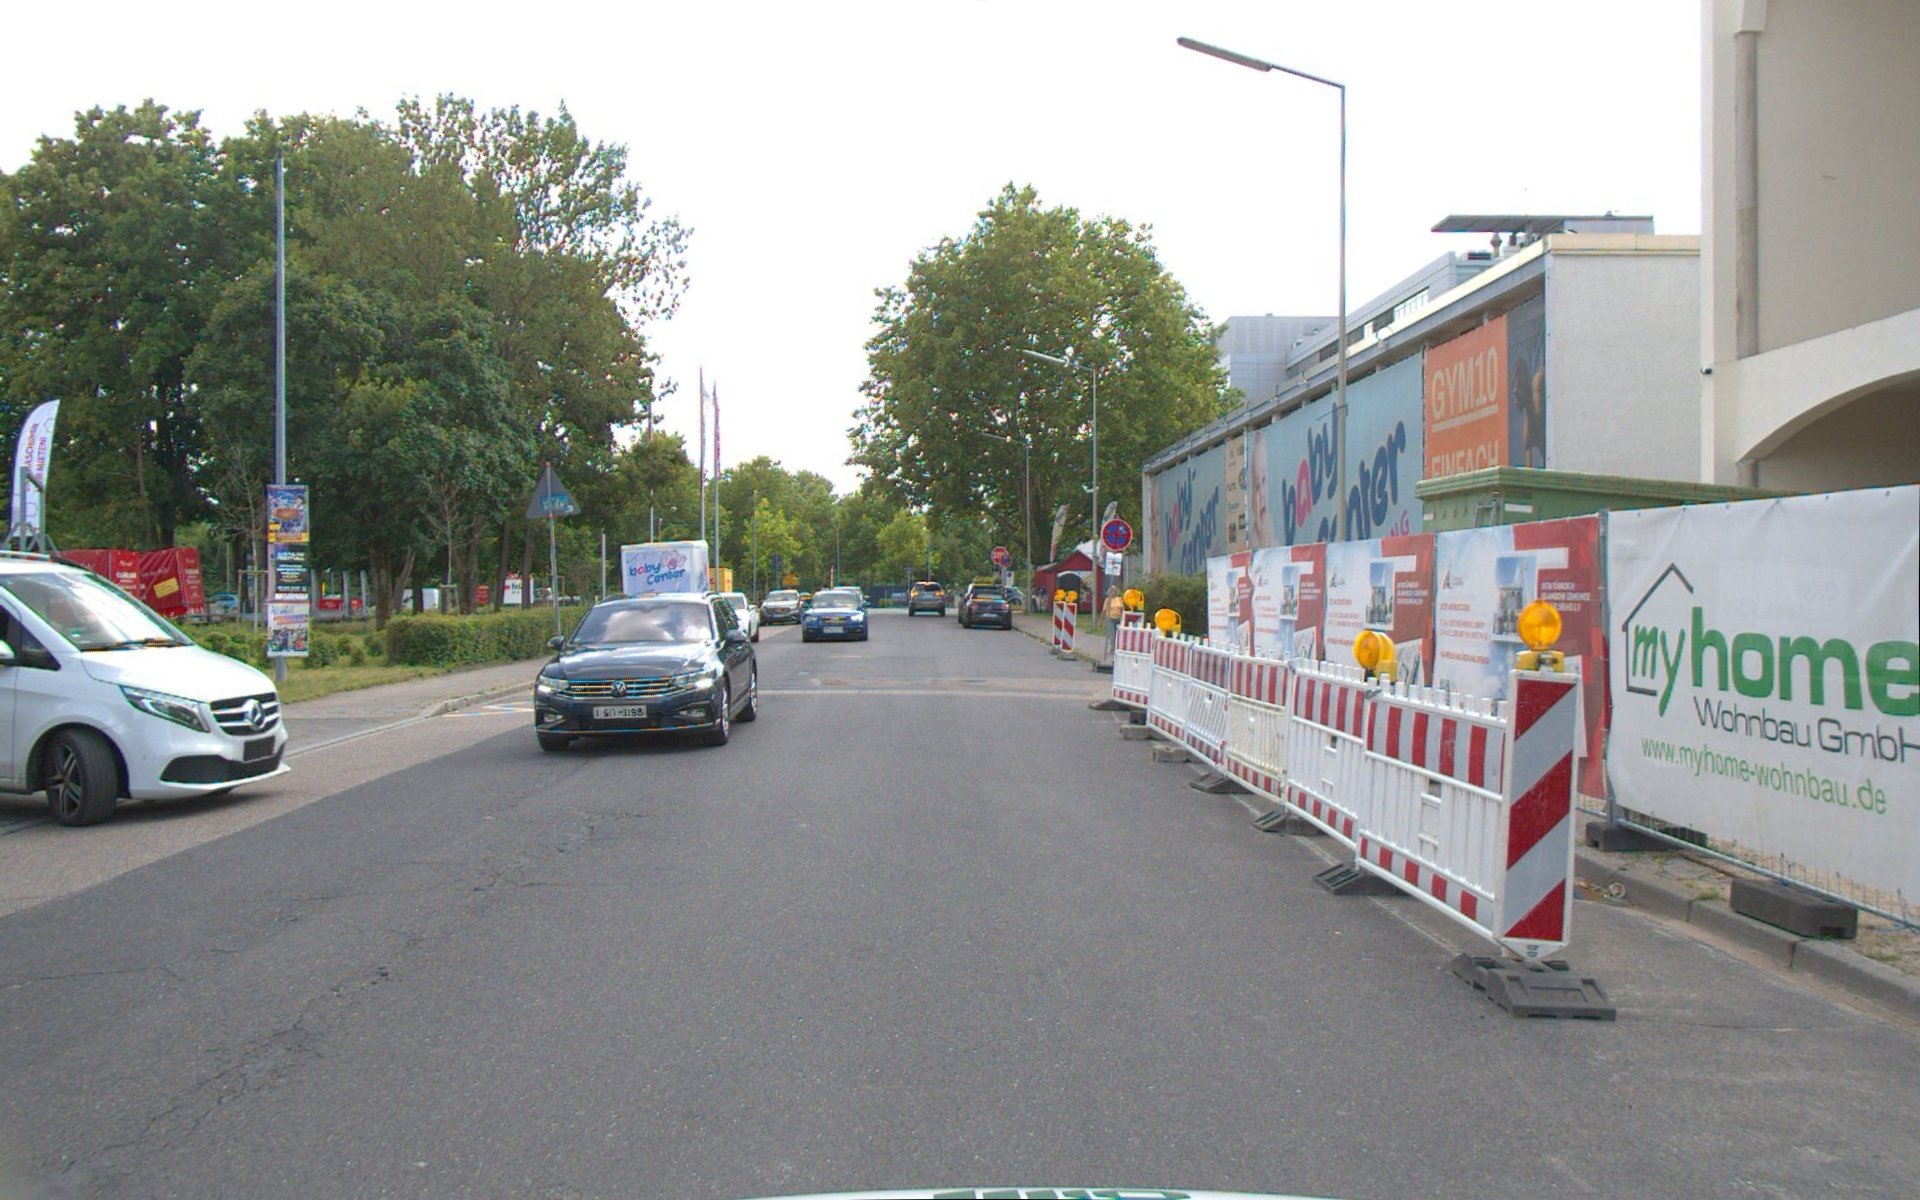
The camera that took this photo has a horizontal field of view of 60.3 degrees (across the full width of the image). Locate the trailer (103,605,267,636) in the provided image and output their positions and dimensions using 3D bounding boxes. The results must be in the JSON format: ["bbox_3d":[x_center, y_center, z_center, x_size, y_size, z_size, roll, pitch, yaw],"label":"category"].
[{"bbox_3d":[-24.254,0.647,51.894,4.150,0.929,2.158,0,-1,-4],"label":"trailer"}]

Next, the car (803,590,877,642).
[{"bbox_3d":[-3.398,0.417,47.444,1.884,1.401,4.379,0,1,-1],"label":"car"}]

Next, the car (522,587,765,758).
[{"bbox_3d":[-3.128,0.637,17.196,1.760,1.484,4.383,-2,1,-2],"label":"car"}]

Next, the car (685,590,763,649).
[{"bbox_3d":[-6.653,0.524,47.065,1.730,1.505,4.233,-3,1,-3],"label":"car"}]

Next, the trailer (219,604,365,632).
[{"bbox_3d":[-24.659,0.660,61.151,4.498,0.928,2.189,0,1,3],"label":"trailer"}]

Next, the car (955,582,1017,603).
[{"bbox_3d":[1.779,-0.500,113.989,4.137,1.430,1.922,0,0,-4],"label":"car"}]

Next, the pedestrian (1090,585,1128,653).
[{"bbox_3d":[3.441,0.434,38.246,0.668,1.560,1.128,0,0,-7],"label":"pedestrian"}]

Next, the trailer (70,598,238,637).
[{"bbox_3d":[-24.066,0.532,49.486,4.150,1.140,1.670,0,-1,-4],"label":"trailer"}]

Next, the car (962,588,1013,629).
[{"bbox_3d":[1.014,0.284,62.413,1.771,1.415,4.588,2,0,0],"label":"car"}]

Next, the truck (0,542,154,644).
[{"bbox_3d":[-24.680,-0.151,43.890,5.636,2.639,1.815,0,-1,0],"label":"truck"}]

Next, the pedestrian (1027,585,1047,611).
[{"bbox_3d":[3.897,-0.099,83.717,0.992,1.337,0.965,0,0,6],"label":"pedestrian"}]

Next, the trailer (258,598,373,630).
[{"bbox_3d":[-24.843,0.533,63.779,3.736,1.211,1.716,0,1,4],"label":"trailer"}]

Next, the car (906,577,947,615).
[{"bbox_3d":[-1.742,-0.217,84.685,1.923,1.847,4.272,0,1,-4],"label":"car"}]

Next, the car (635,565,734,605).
[{"bbox_3d":[-18.799,-1.033,113.035,6.248,2.623,2.207,0,1,5],"label":"car"}]

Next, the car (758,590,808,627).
[{"bbox_3d":[-7.622,0.346,71.477,1.675,1.444,4.331,-3,1,0],"label":"car"}]

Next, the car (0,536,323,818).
[{"bbox_3d":[-7.763,0.540,12.783,4.895,1.983,1.993,0,0,4],"label":"car"}]

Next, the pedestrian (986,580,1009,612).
[{"bbox_3d":[2.200,-0.256,97.191,0.985,1.881,1.222,0,0,-19],"label":"pedestrian"}]

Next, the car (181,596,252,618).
[{"bbox_3d":[-49.773,0.485,110.827,3.938,1.430,1.796,0,0,-4],"label":"car"}]

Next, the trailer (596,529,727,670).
[{"bbox_3d":[-6.499,-0.032,36.540,2.097,2.831,4.701,-2,1,-2],"label":"trailer"}]

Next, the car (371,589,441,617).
[{"bbox_3d":[-45.420,0.239,135.697,5.183,2.250,1.796,-1,0,-5],"label":"car"}]

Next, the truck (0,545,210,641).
[{"bbox_3d":[-24.270,-0.169,46.601,5.435,2.639,1.779,0,-1,-2],"label":"truck"}]
